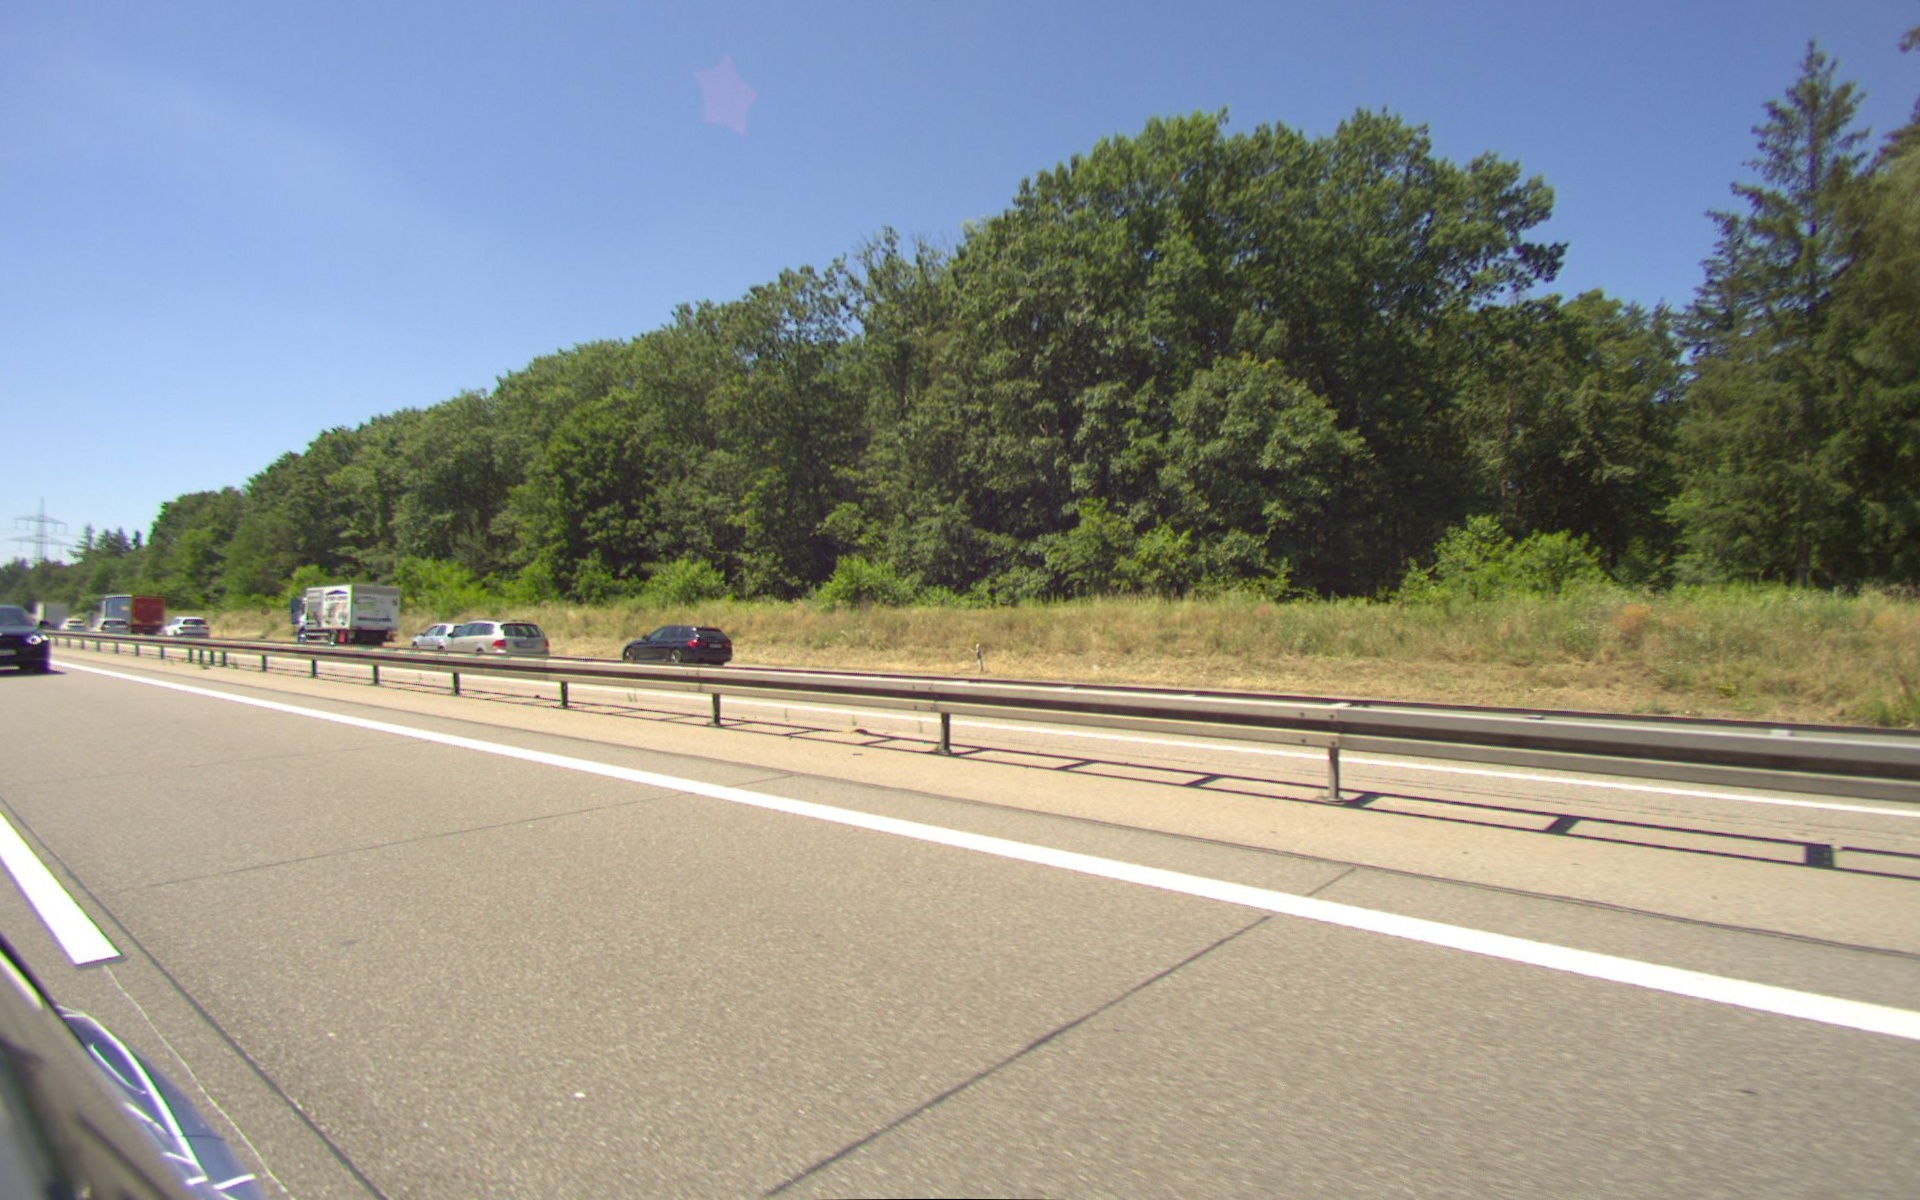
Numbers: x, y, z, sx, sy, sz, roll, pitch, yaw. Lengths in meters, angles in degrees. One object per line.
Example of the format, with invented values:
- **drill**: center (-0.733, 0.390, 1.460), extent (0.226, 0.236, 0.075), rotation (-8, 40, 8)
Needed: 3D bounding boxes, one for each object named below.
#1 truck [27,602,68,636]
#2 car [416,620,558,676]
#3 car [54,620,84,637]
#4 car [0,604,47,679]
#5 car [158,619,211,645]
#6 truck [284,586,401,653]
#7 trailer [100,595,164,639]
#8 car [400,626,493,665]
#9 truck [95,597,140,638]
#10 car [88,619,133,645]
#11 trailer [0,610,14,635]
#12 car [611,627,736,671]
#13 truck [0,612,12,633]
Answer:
- **truck**: center (-103.375, 2.156, 114.588), extent (8.116, 3.634, 2.431), rotation (-1, -4, 42)
- **car**: center (-13.868, 1.372, 29.525), extent (5.118, 1.470, 1.743), rotation (-1, -4, 41)
- **car**: center (-87.055, 2.811, 98.850), extent (4.467, 1.571, 1.587), rotation (-1, -4, 41)
- **car**: center (-25.100, 1.049, 25.874), extent (5.809, 1.765, 1.920), rotation (-1, -1, 41)
- **car**: center (-51.681, 2.135, 67.392), extent (5.085, 1.659, 1.709), rotation (-1, -4, 41)
- **truck**: center (-36.461, 1.184, 59.576), extent (10.436, 3.545, 2.703), rotation (-1, -4, 41)
- **trailer**: center (-82.078, 1.757, 100.138), extent (14.362, 4.045, 2.479), rotation (-1, -4, 42)
- **car**: center (-20.617, 1.805, 40.531), extent (4.350, 1.418, 1.743), rotation (-1, -4, 41)
- **truck**: center (-87.131, 1.833, 104.665), extent (6.122, 4.045, 2.479), rotation (-1, -4, 42)
- **car**: center (-52.435, 1.977, 62.454), extent (3.638, 1.478, 1.500), rotation (-1, -4, 41)
- **trailer**: center (-171.219, 3.985, 179.918), extent (14.540, 4.151, 2.783), rotation (-1, -4, 41)
- **car**: center (-10.087, 1.699, 35.423), extent (5.174, 1.422, 1.637), rotation (-1, -4, 41)
- **truck**: center (-124.450, 2.920, 130.774), extent (8.028, 2.643, 2.060), rotation (-1, -4, 42)
